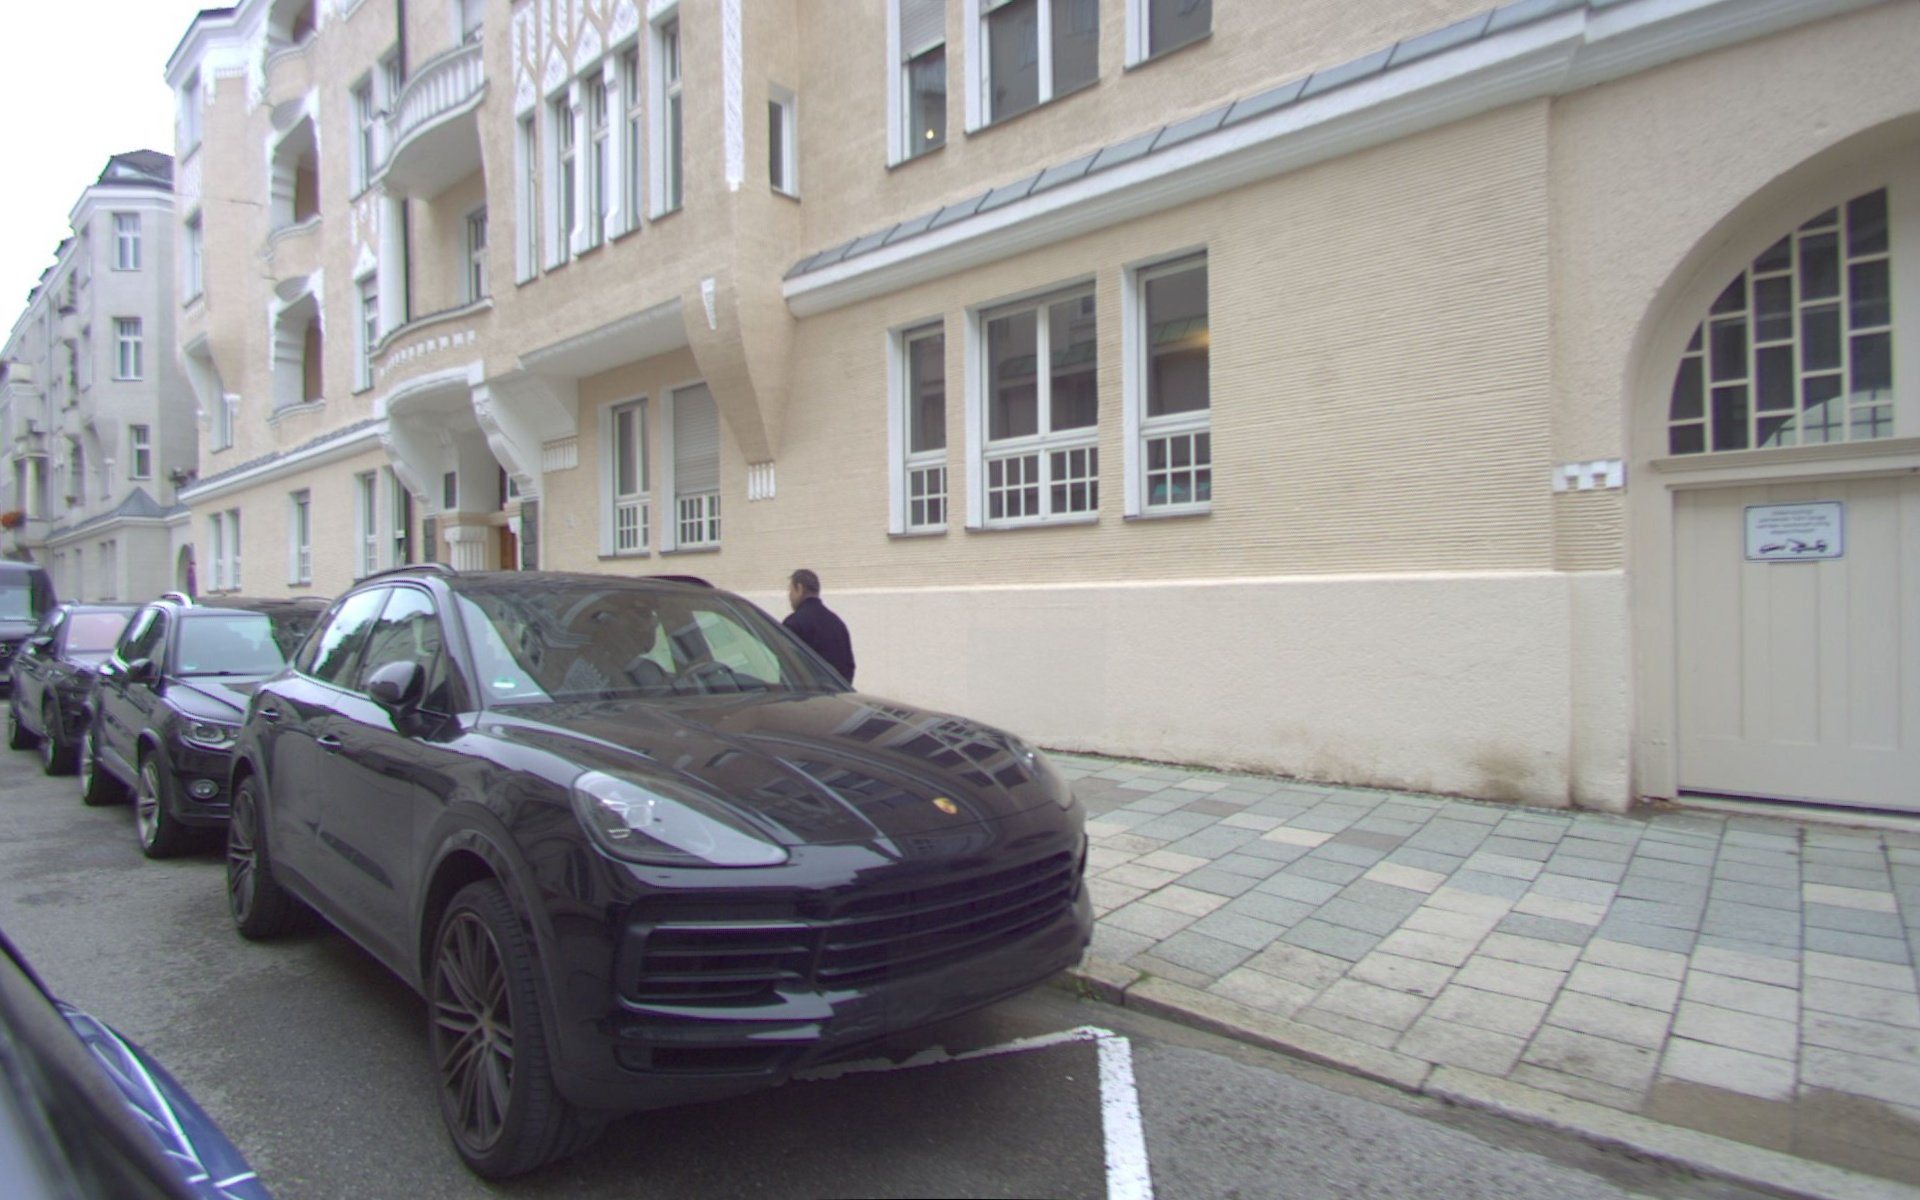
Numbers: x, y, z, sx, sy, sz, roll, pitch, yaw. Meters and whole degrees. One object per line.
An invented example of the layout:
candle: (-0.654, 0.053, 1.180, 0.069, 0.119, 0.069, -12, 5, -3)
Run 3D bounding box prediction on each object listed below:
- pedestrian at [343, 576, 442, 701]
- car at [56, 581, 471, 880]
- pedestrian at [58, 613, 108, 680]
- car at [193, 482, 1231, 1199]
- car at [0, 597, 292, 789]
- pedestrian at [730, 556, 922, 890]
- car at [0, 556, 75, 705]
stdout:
pedestrian: (-8.311, 0.540, 14.829, 0.939, 1.742, 0.982, -1, 0, 40)
car: (-5.411, 0.747, 7.635, 4.101, 1.655, 1.713, -1, 0, 43)
pedestrian: (-20.683, 1.082, 23.871, 1.014, 1.534, 0.706, -1, 0, 38)
car: (-1.481, 0.652, 4.084, 4.619, 1.671, 1.929, -1, 0, 45)
car: (-9.075, 0.845, 11.042, 4.458, 1.661, 1.853, -1, 0, 41)
pedestrian: (-0.792, 0.665, 6.019, 0.740, 1.803, 0.826, -1, 0, 41)
car: (-19.177, 0.576, 19.865, 5.678, 2.641, 2.076, -1, -2, 43)
